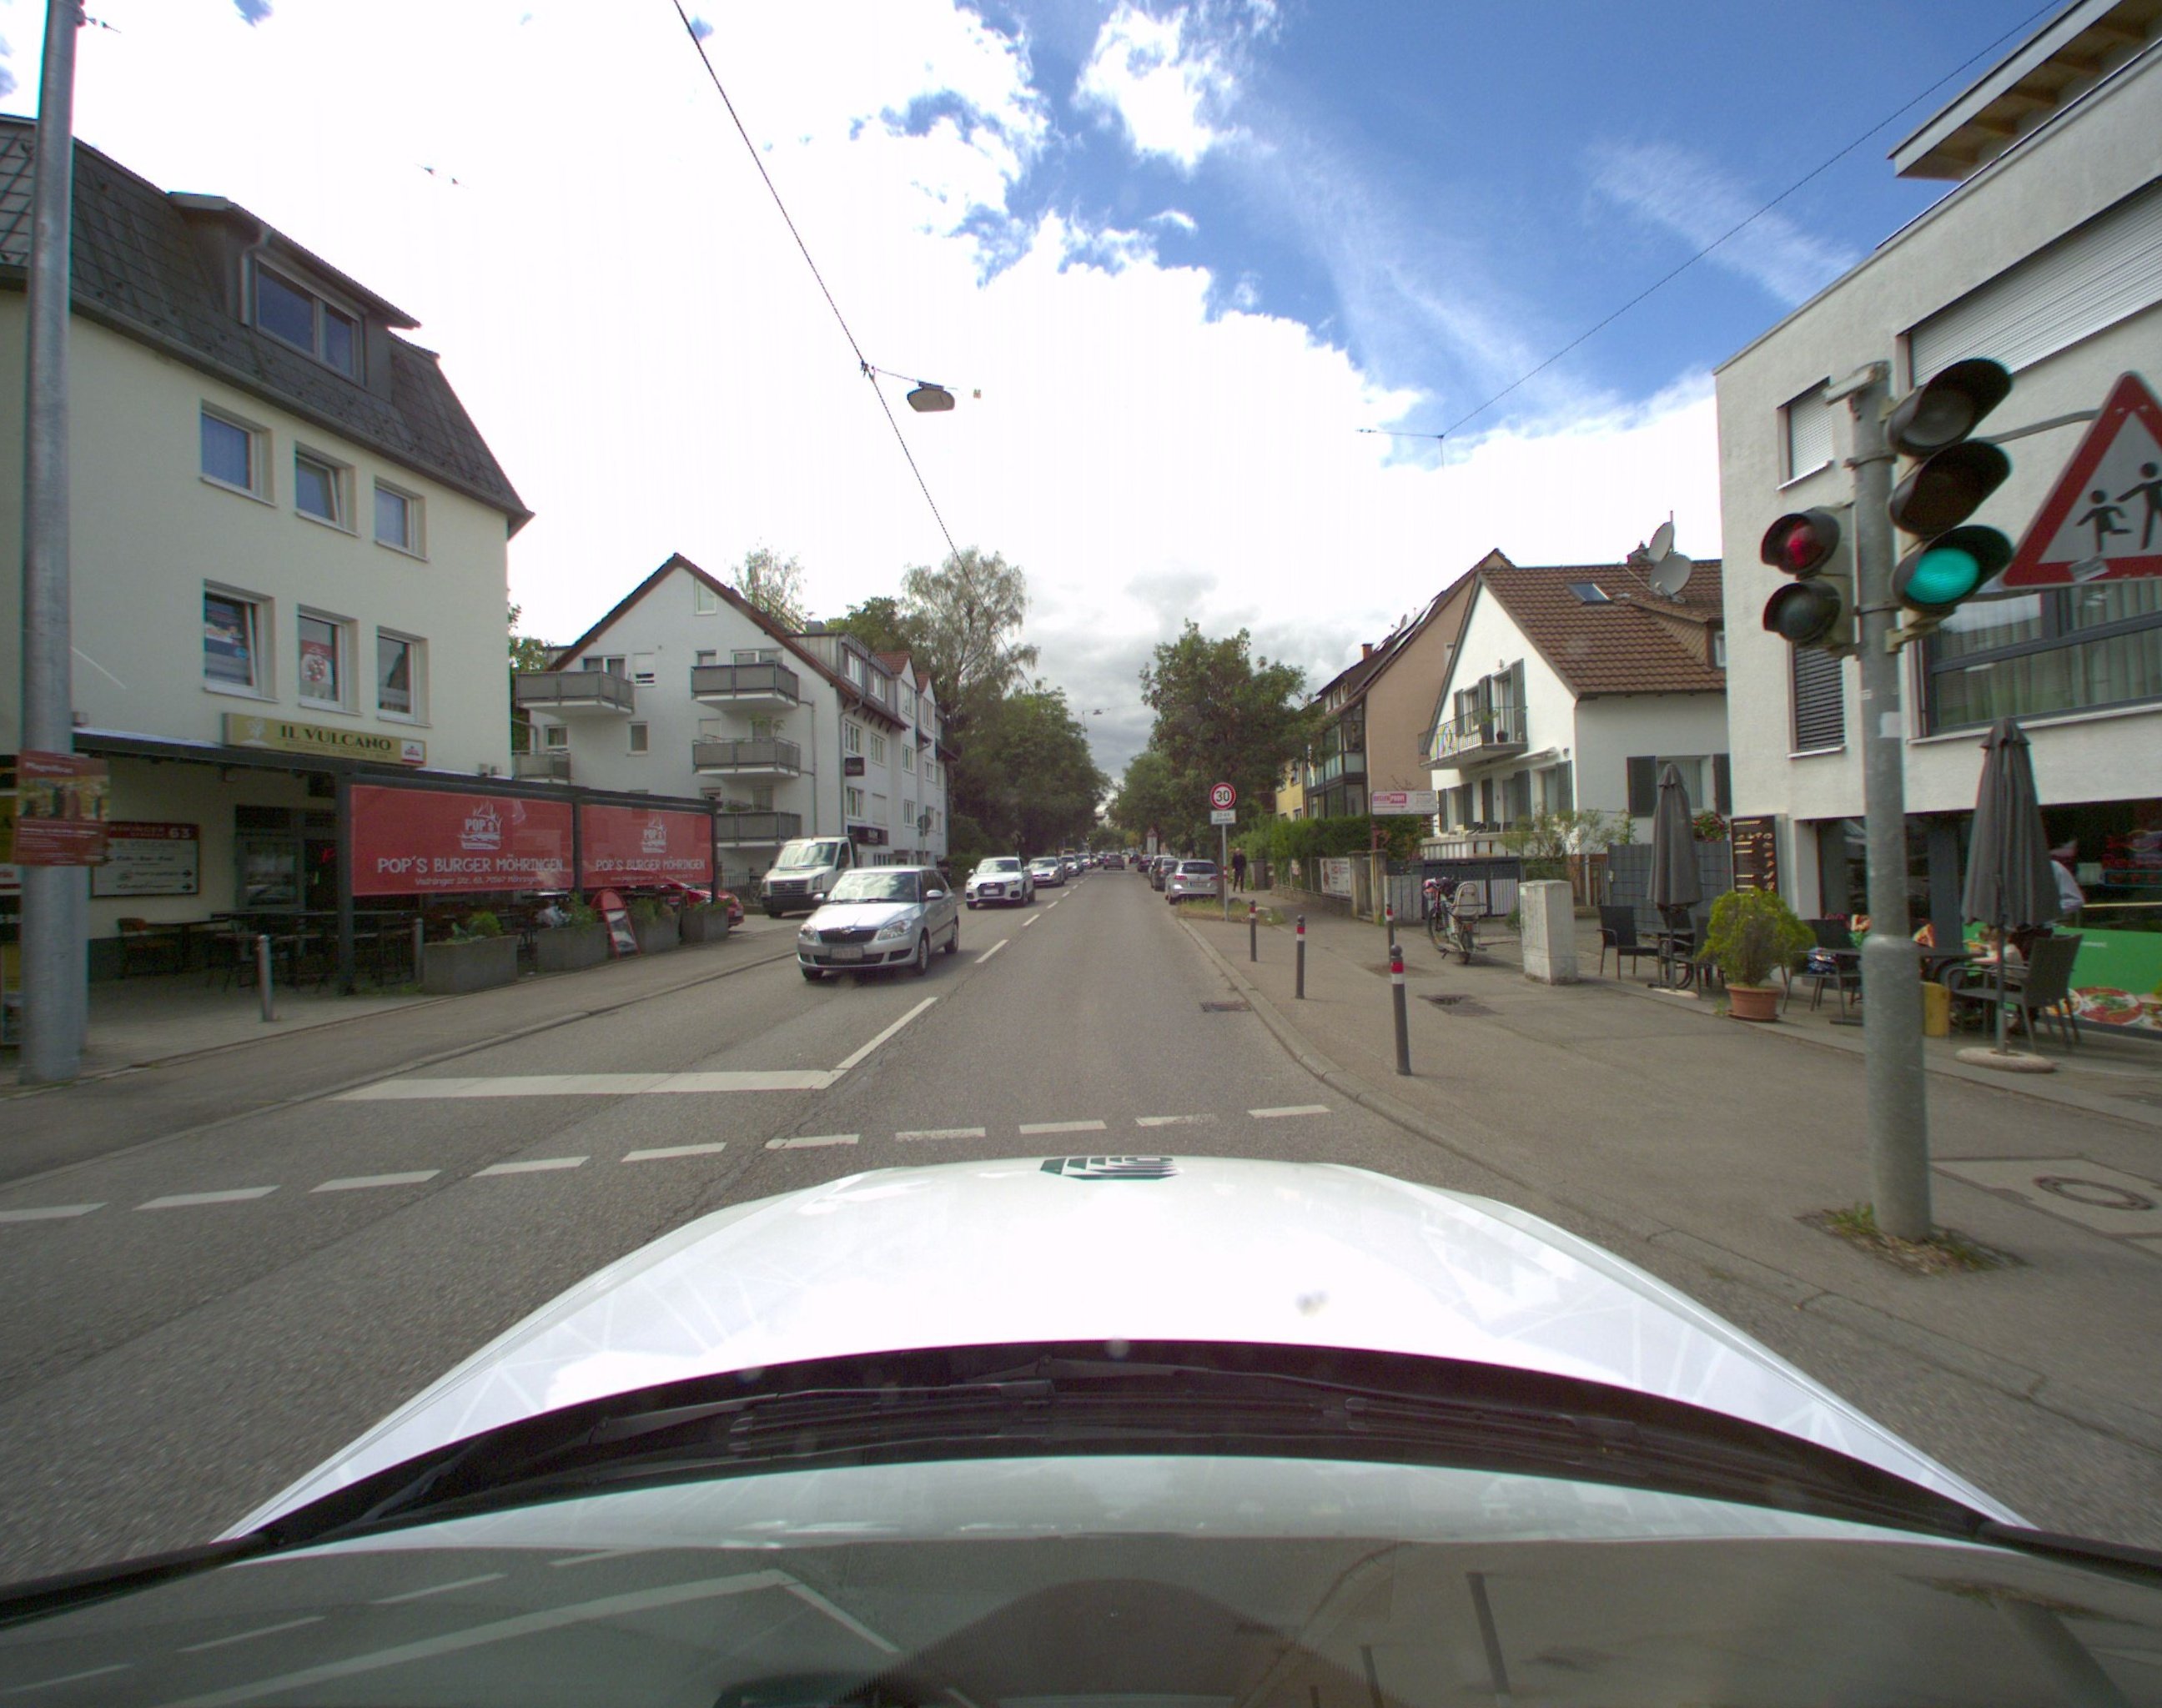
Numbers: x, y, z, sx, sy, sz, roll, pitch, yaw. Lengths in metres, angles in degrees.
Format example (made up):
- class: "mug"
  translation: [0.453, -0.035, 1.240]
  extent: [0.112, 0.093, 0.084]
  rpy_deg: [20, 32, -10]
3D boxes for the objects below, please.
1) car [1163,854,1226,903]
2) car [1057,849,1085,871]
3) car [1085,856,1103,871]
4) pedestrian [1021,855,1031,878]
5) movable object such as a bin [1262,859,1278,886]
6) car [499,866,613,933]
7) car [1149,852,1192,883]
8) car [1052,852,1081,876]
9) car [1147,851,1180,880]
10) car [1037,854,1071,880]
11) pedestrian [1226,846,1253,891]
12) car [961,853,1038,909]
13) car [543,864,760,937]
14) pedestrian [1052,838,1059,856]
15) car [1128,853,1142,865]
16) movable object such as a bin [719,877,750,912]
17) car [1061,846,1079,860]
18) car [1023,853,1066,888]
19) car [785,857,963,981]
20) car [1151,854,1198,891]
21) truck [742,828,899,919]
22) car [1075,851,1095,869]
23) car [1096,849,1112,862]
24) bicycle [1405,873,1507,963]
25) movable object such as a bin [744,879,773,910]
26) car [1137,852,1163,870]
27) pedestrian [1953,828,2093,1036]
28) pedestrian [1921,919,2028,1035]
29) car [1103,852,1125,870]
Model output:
- class: "car"
  translation: [3.720, 0.755, 27.476]
  extent: [1.694, 1.480, 4.876]
  rpy_deg: [0, 0, 3]
- class: "car"
  translation: [-0.775, 0.474, 67.366]
  extent: [1.920, 1.546, 4.089]
  rpy_deg: [-4, 0, 3]
- class: "car"
  translation: [1.506, 1.048, 94.498]
  extent: [1.777, 1.591, 4.157]
  rpy_deg: [-3, 0, 3]
- class: "pedestrian"
  translation: [-4.014, 0.892, 59.196]
  extent: [0.651, 1.667, 0.931]
  rpy_deg: [-1, -1, -3]
- class: "movable object such as a bin"
  translation: [7.559, 0.735, 32.582]
  extent: [0.520, 1.080, 0.605]
  rpy_deg: [-1, -1, 8]
- class: "car"
  translation: [-12.728, 1.061, 19.695]
  extent: [2.811, 1.470, 1.576]
  rpy_deg: [-3, -1, 41]
- class: "car"
  translation: [4.540, 0.668, 41.816]
  extent: [1.985, 1.423, 4.593]
  rpy_deg: [-2, 0, 4]
- class: "car"
  translation: [-1.003, 0.679, 57.486]
  extent: [1.753, 1.439, 3.973]
  rpy_deg: [-3, 0, 2]
- class: "car"
  translation: [4.746, 0.636, 47.216]
  extent: [1.615, 1.507, 3.782]
  rpy_deg: [-2, 0, 3]
- class: "car"
  translation: [-1.658, 0.797, 50.935]
  extent: [1.703, 1.455, 4.289]
  rpy_deg: [-4, 0, 2]
- class: "pedestrian"
  translation: [6.139, 0.548, 31.592]
  extent: [0.876, 1.712, 0.843]
  rpy_deg: [-1, -1, 4]
- class: "car"
  translation: [-2.547, 0.816, 26.399]
  extent: [1.799, 1.571, 4.162]
  rpy_deg: [-3, 0, 3]
- class: "car"
  translation: [-9.161, 0.959, 17.592]
  extent: [3.682, 1.425, 1.804]
  rpy_deg: [-1, 0, -2]
- class: "pedestrian"
  translation: [-2.626, -0.727, 84.122]
  extent: [0.712, 1.762, 1.121]
  rpy_deg: [-1, -1, -3]
- class: "car"
  translation: [7.311, 0.628, 110.236]
  extent: [1.808, 1.501, 4.272]
  rpy_deg: [0, 0, 4]
- class: "movable object such as a bin"
  translation: [-12.943, 1.520, 30.463]
  extent: [0.805, 1.258, 0.710]
  rpy_deg: [-1, -1, 6]
- class: "car"
  translation: [-1.644, -0.127, 121.192]
  extent: [2.135, 1.981, 4.938]
  rpy_deg: [-1, -1, 5]
- class: "car"
  translation: [-1.745, 0.749, 40.250]
  extent: [1.722, 1.502, 4.378]
  rpy_deg: [-4, 0, 2]
- class: "car"
  translation: [-2.851, 0.821, 12.048]
  extent: [1.612, 1.486, 3.813]
  rpy_deg: [-1, 0, 0]
- class: "car"
  translation: [4.051, 0.753, 35.919]
  extent: [1.727, 1.428, 4.886]
  rpy_deg: [1, 0, 3]
- class: "truck"
  translation: [-7.651, 0.552, 24.861]
  extent: [2.213, 2.380, 6.335]
  rpy_deg: [-1, -1, 5]
- class: "car"
  translation: [0.427, 0.614, 82.120]
  extent: [1.778, 1.648, 4.494]
  rpy_deg: [-3, 0, 3]
- class: "car"
  translation: [2.972, 0.145, 104.461]
  extent: [1.781, 1.542, 4.269]
  rpy_deg: [-3, 0, 4]
- class: "bicycle"
  translation: [5.396, 0.878, 11.879]
  extent: [0.716, 1.150, 2.218]
  rpy_deg: [-1, -1, 8]
- class: "movable object such as a bin"
  translation: [-12.041, 1.517, 30.450]
  extent: [0.734, 1.101, 0.707]
  rpy_deg: [-1, -1, 6]
- class: "car"
  translation: [5.545, 0.537, 66.085]
  extent: [1.795, 1.445, 4.889]
  rpy_deg: [1, 0, 2]
- class: "pedestrian"
  translation: [8.424, 0.660, 7.304]
  extent: [0.429, 1.762, 0.671]
  rpy_deg: [-1, -1, -18]
- class: "pedestrian"
  translation: [7.897, 1.066, 7.211]
  extent: [0.419, 0.938, 0.494]
  rpy_deg: [-1, -1, -18]
- class: "car"
  translation: [3.065, 0.634, 75.034]
  extent: [1.967, 1.513, 4.271]
  rpy_deg: [2, 0, 3]
